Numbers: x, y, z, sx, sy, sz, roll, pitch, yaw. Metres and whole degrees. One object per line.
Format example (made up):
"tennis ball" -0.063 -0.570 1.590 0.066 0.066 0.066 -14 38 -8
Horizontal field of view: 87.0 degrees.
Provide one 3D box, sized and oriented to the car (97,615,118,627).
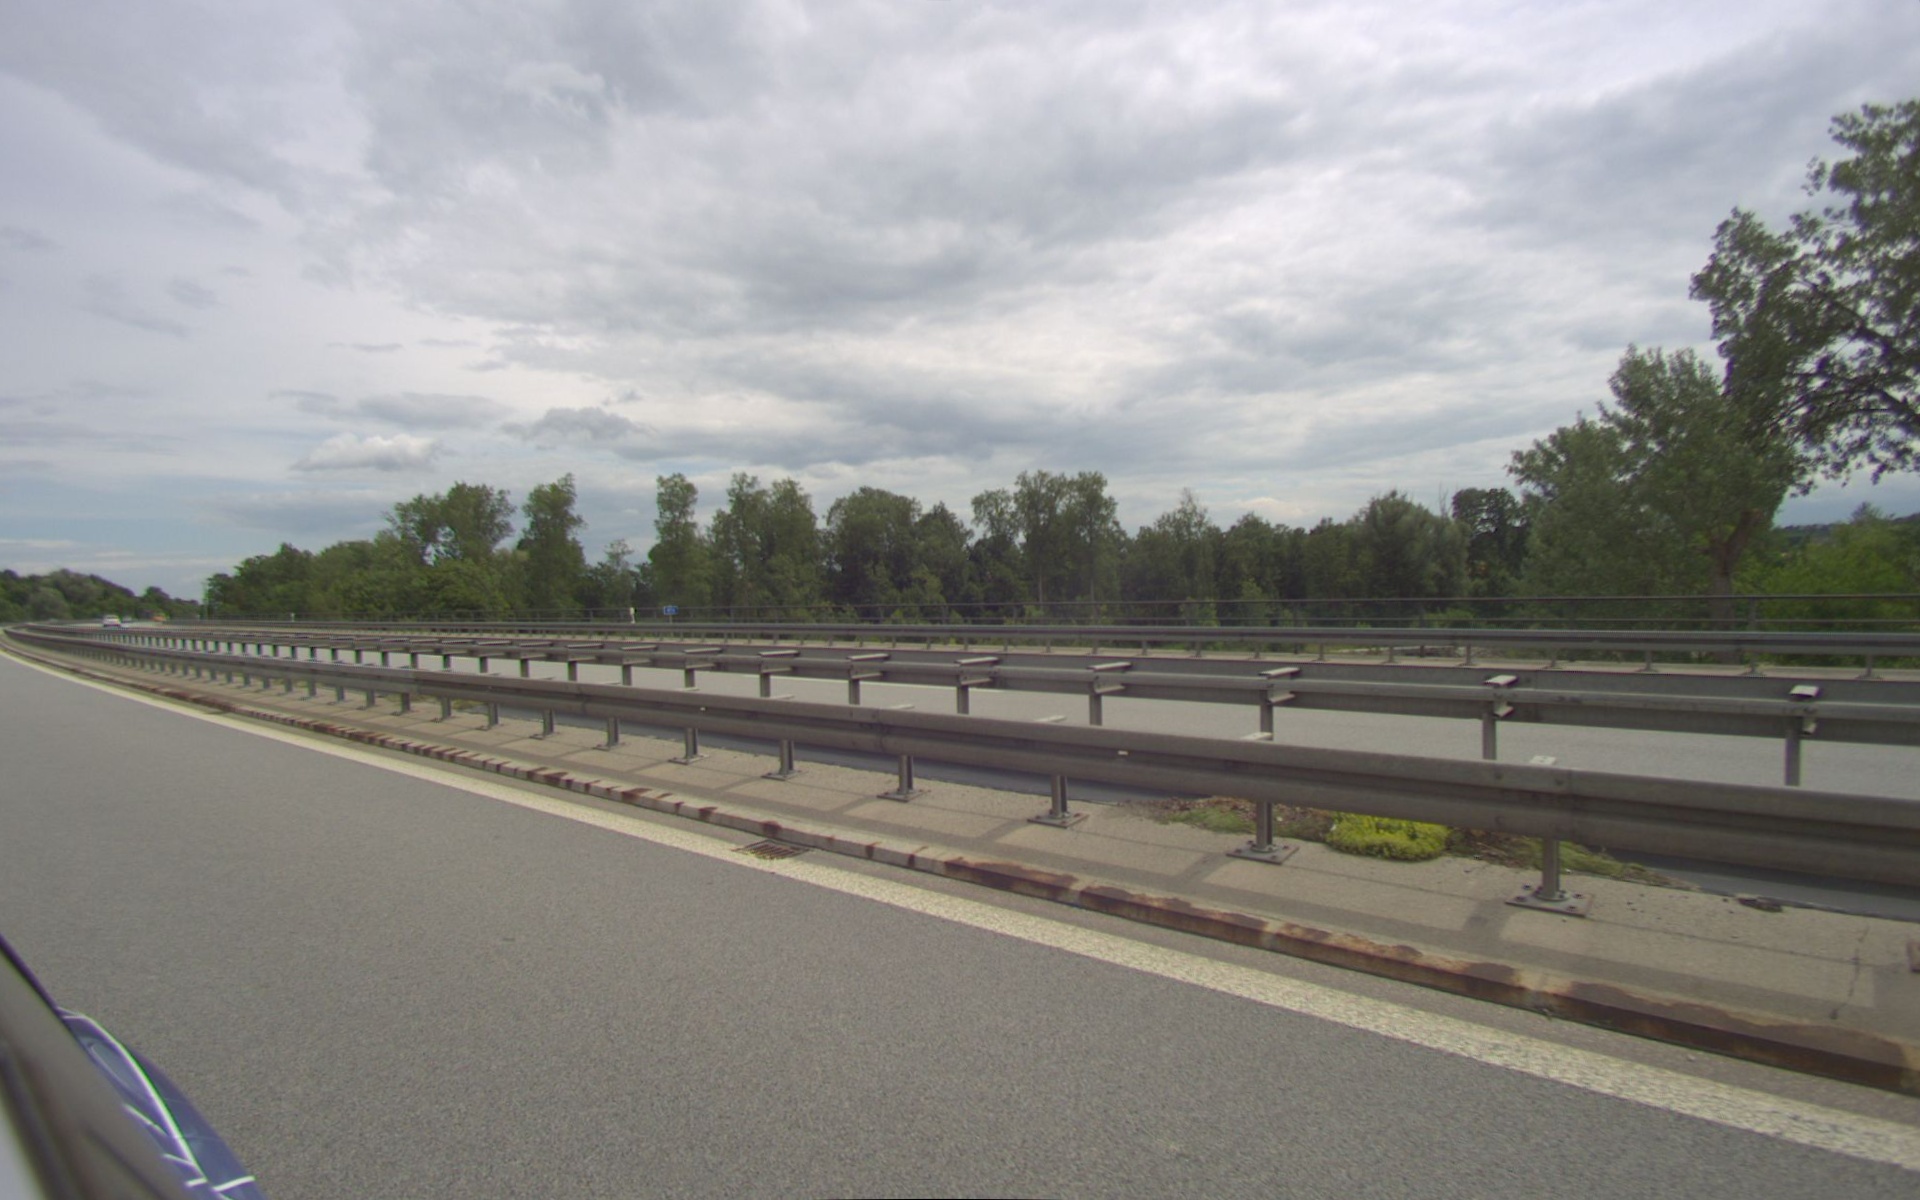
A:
"car" -104.497 2.620 124.035 4.330 1.417 1.514 -1 0 44
